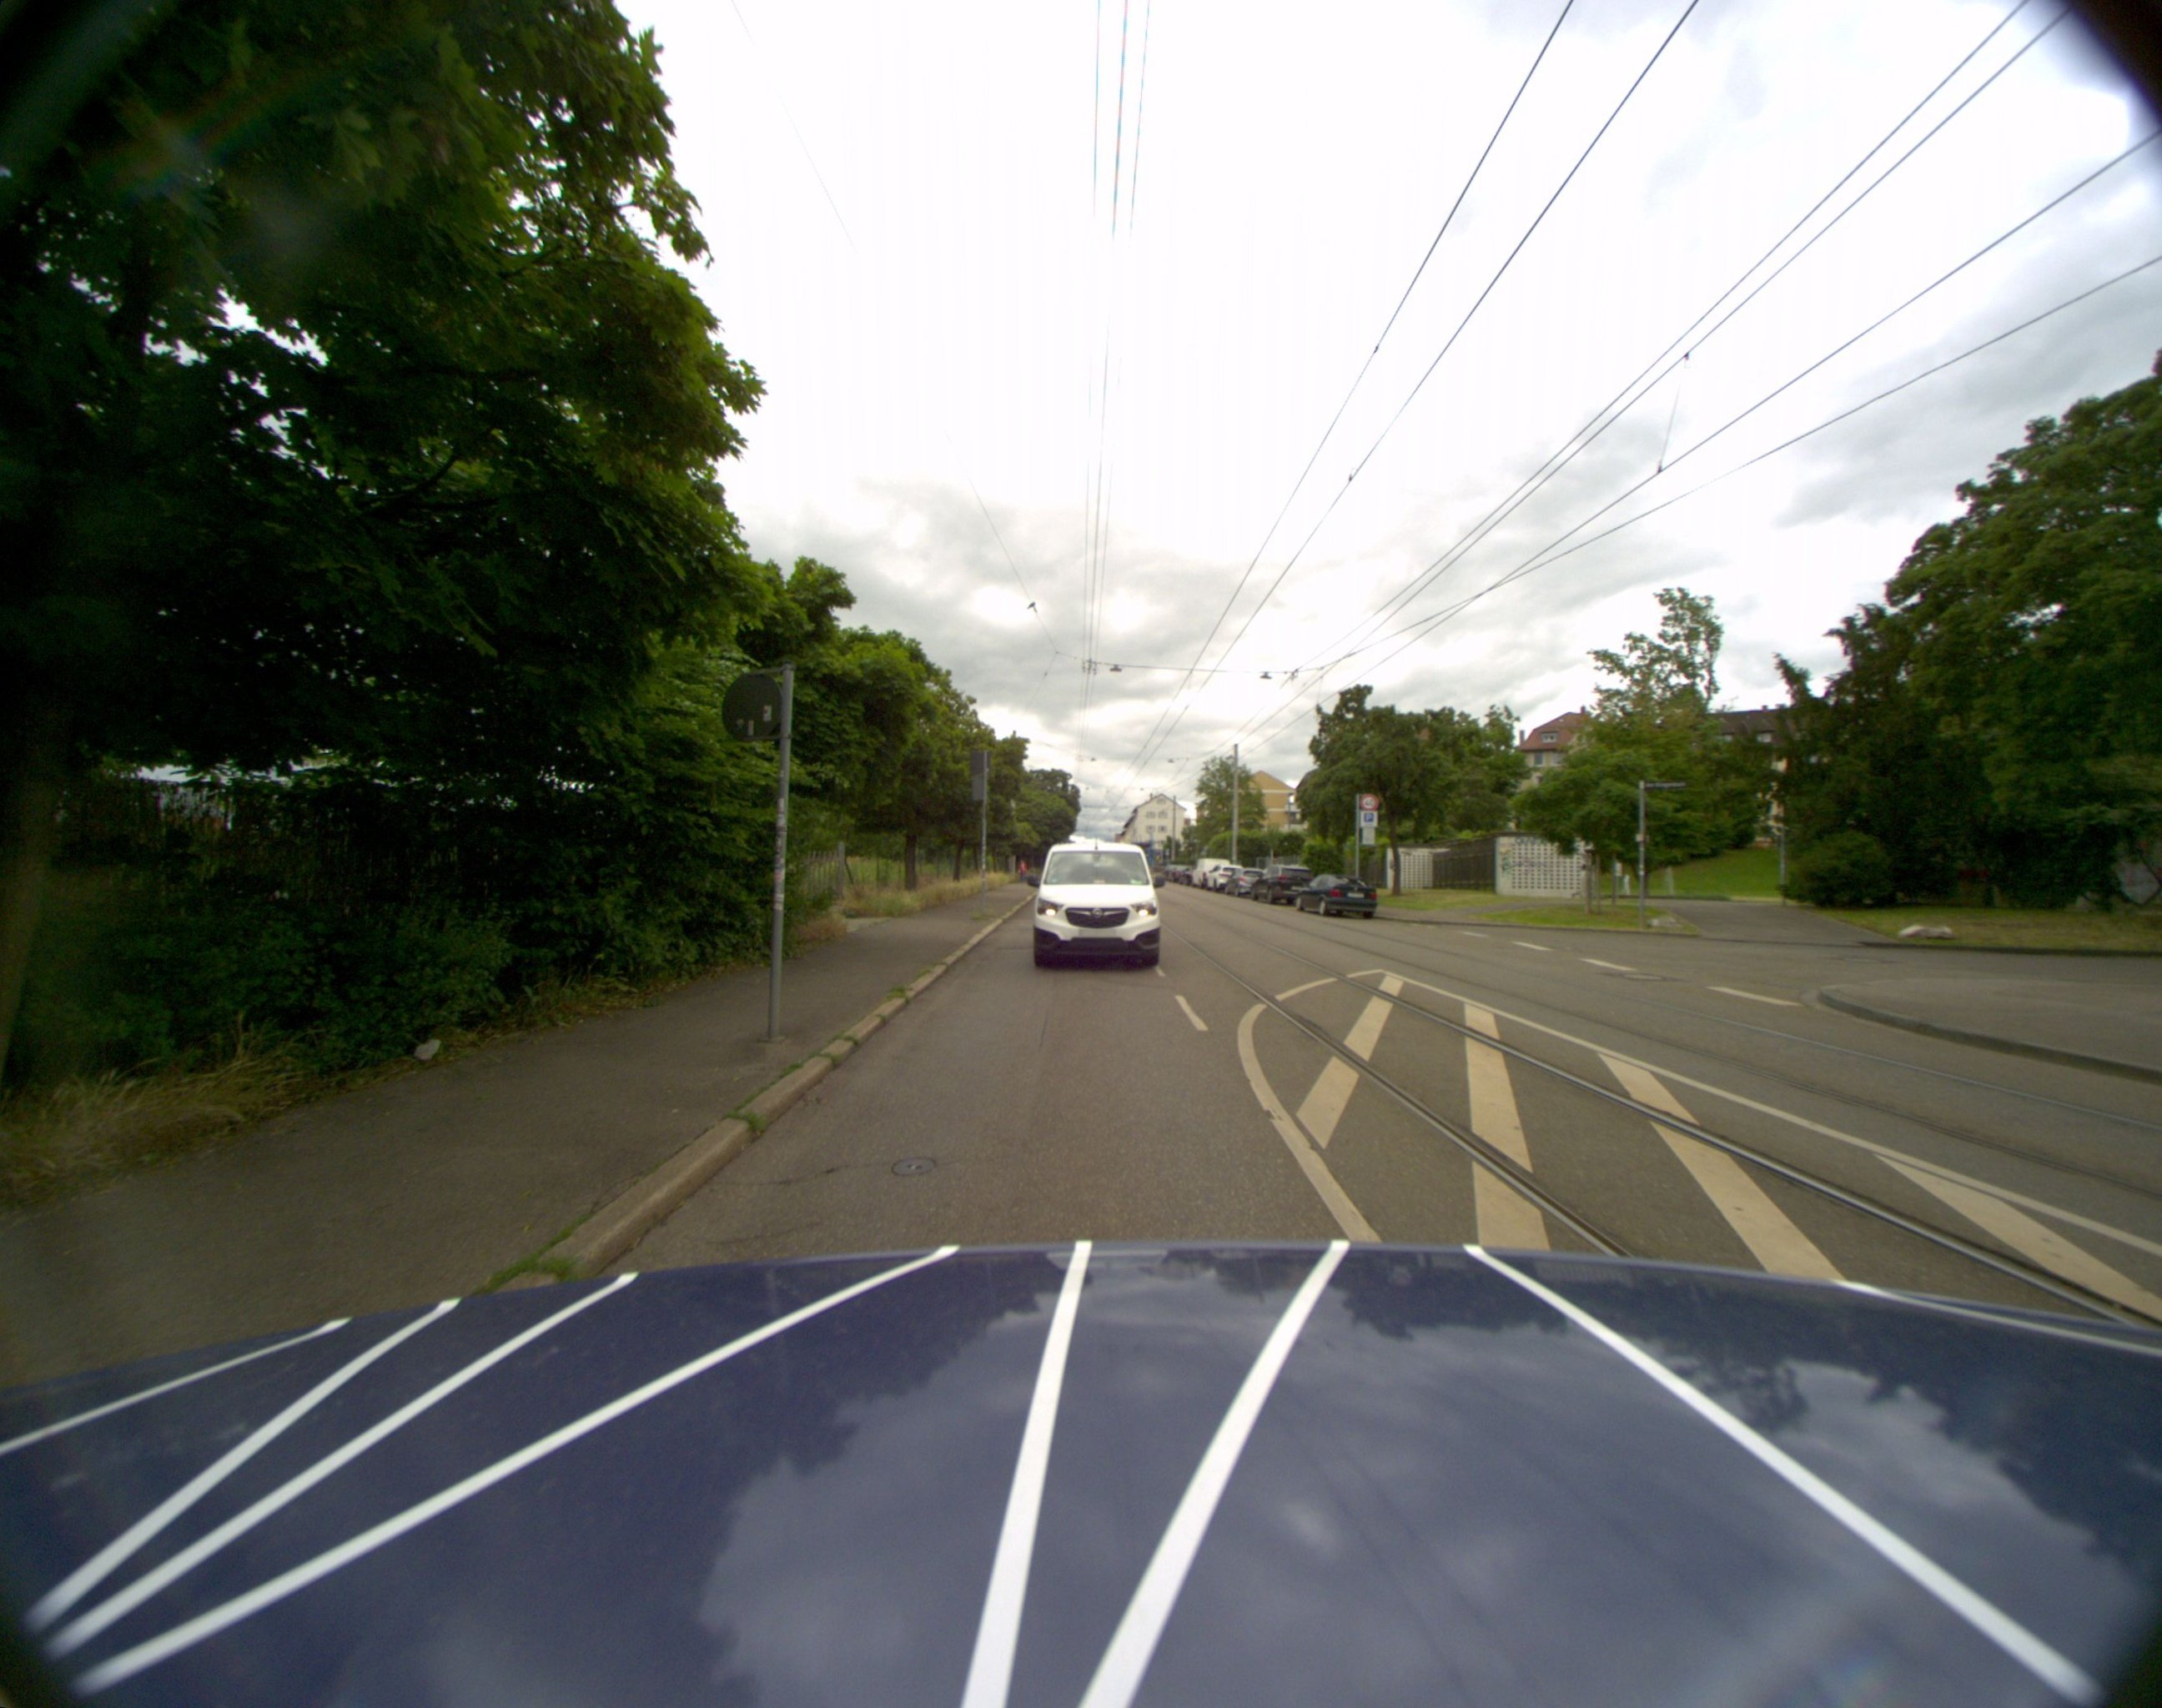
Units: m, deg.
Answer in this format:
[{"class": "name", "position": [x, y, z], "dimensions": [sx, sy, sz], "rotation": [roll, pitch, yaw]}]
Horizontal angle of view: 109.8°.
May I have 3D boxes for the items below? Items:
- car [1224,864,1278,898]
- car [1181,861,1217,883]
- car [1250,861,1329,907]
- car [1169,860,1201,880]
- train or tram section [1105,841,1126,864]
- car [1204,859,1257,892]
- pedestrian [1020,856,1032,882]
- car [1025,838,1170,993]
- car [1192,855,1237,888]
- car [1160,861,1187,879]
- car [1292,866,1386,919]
[{"class": "car", "position": [8.566, 1.320, 38.572], "dimensions": [1.743, 1.500, 3.868], "rotation": [2, 1, -1]}, {"class": "car", "position": [8.540, 1.292, 55.382], "dimensions": [1.845, 1.379, 4.516], "rotation": [2, 1, -1]}, {"class": "car", "position": [8.726, 1.207, 32.252], "dimensions": [1.974, 1.677, 4.443], "rotation": [2, 1, -1]}, {"class": "car", "position": [8.363, 1.246, 61.628], "dimensions": [1.845, 1.379, 4.439], "rotation": [2, 1, -1]}, {"class": "train or tram section", "position": [5.596, -0.270, 125.907], "dimensions": [2.857, 3.615, 12.128], "rotation": [1, 0, 0]}, {"class": "car", "position": [8.589, 1.184, 44.064], "dimensions": [1.974, 1.677, 4.631], "rotation": [2, 1, -1]}, {"class": "pedestrian", "position": [-3.477, 0.936, 48.201], "dimensions": [0.716, 1.611, 0.718], "rotation": [1, 1, 0]}, {"class": "car", "position": [0.239, 0.751, 11.430], "dimensions": [1.730, 1.850, 4.421], "rotation": [1, 0, 1]}, {"class": "car", "position": [8.677, 1.096, 49.692], "dimensions": [1.974, 1.902, 4.733], "rotation": [2, 1, -1]}, {"class": "car", "position": [8.184, 1.419, 67.739], "dimensions": [1.794, 1.396, 4.160], "rotation": [2, 1, -1]}, {"class": "car", "position": [8.612, 1.242, 25.740], "dimensions": [1.625, 1.469, 4.155], "rotation": [2, 1, -1]}]
